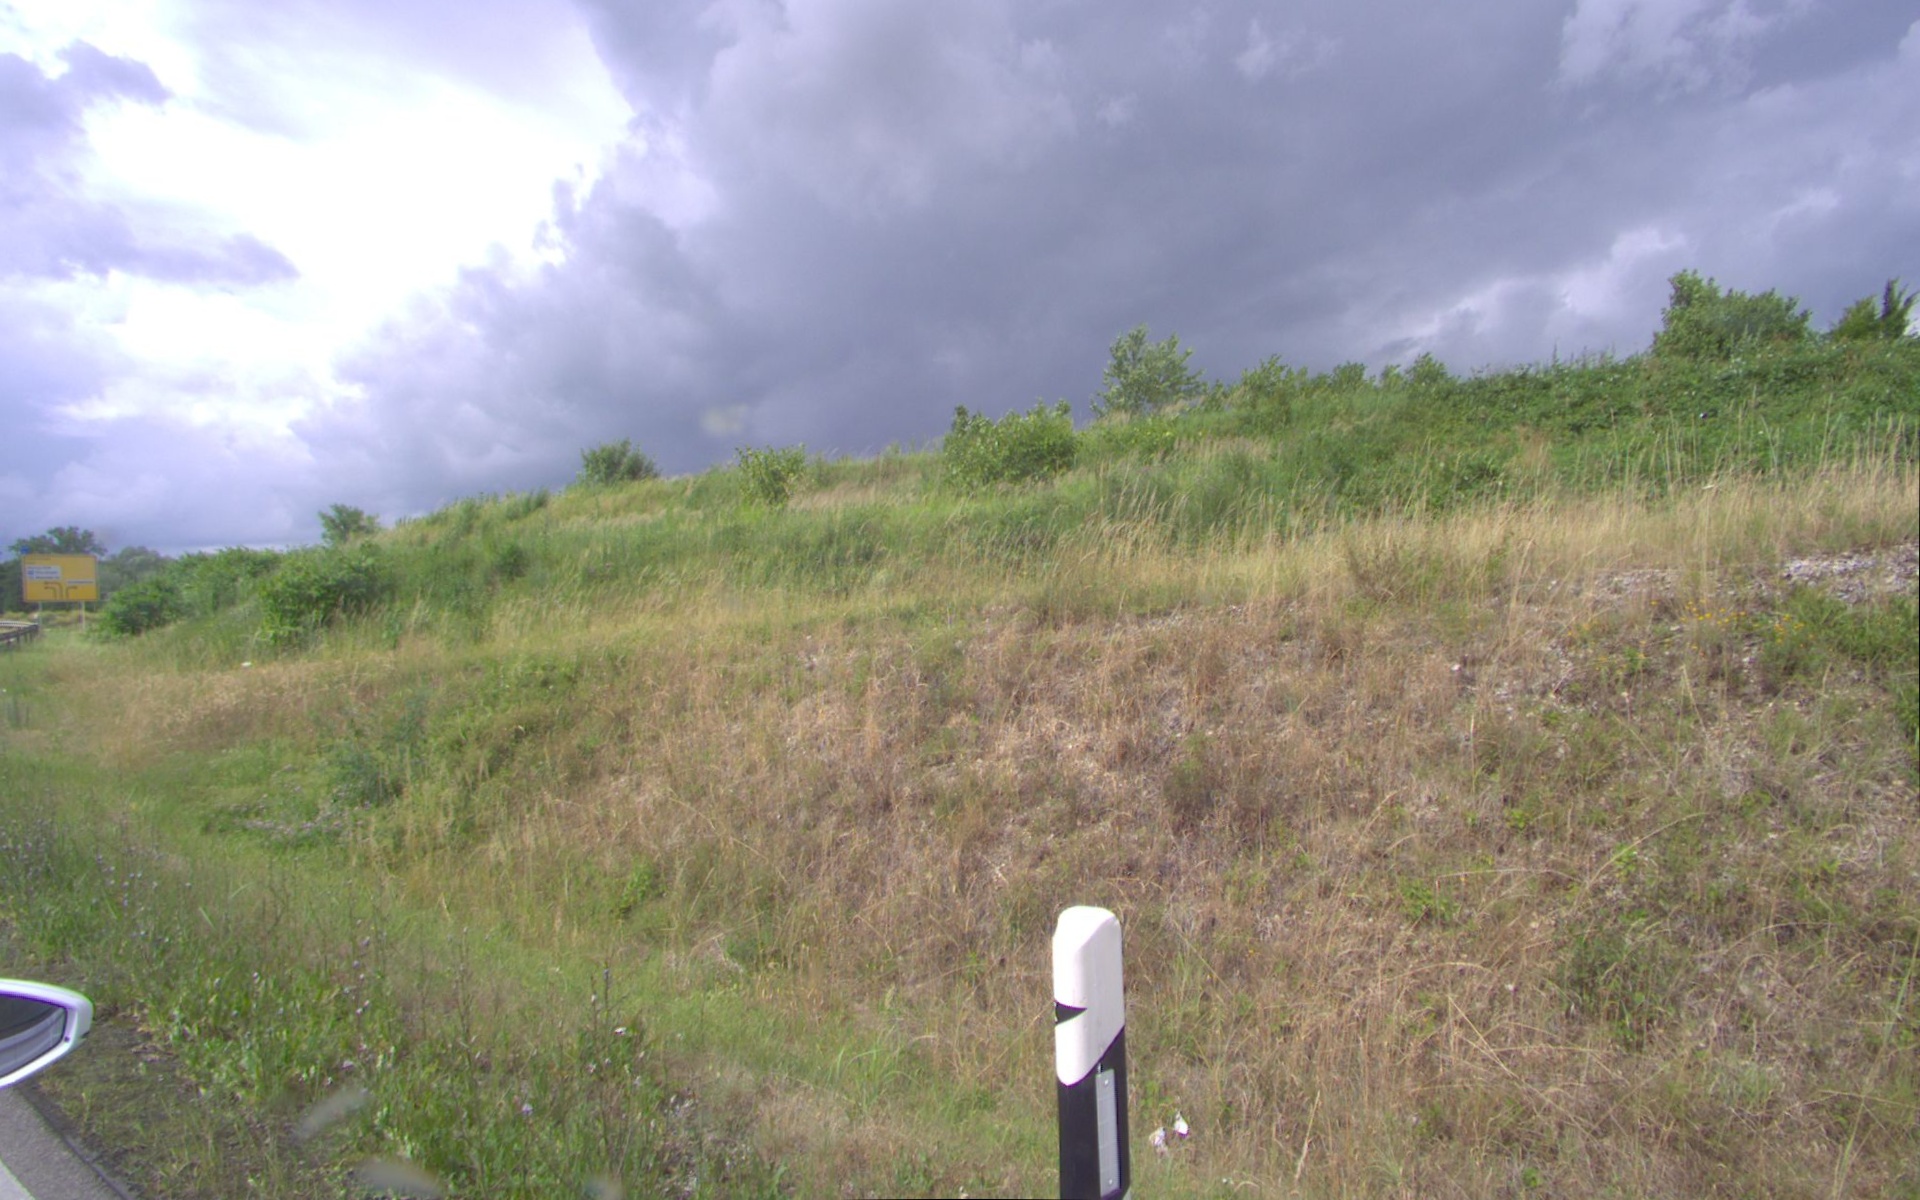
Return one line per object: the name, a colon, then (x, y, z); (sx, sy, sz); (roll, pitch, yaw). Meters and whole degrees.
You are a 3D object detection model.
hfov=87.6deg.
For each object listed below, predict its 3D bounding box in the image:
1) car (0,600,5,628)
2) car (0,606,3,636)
car: (-68.512, 0.994, 70.204); (4.448, 1.906, 2.083); (-2, -2, 44)
car: (-52.103, 1.105, 52.854); (1.878, 1.608, 4.460); (1, -2, -39)
